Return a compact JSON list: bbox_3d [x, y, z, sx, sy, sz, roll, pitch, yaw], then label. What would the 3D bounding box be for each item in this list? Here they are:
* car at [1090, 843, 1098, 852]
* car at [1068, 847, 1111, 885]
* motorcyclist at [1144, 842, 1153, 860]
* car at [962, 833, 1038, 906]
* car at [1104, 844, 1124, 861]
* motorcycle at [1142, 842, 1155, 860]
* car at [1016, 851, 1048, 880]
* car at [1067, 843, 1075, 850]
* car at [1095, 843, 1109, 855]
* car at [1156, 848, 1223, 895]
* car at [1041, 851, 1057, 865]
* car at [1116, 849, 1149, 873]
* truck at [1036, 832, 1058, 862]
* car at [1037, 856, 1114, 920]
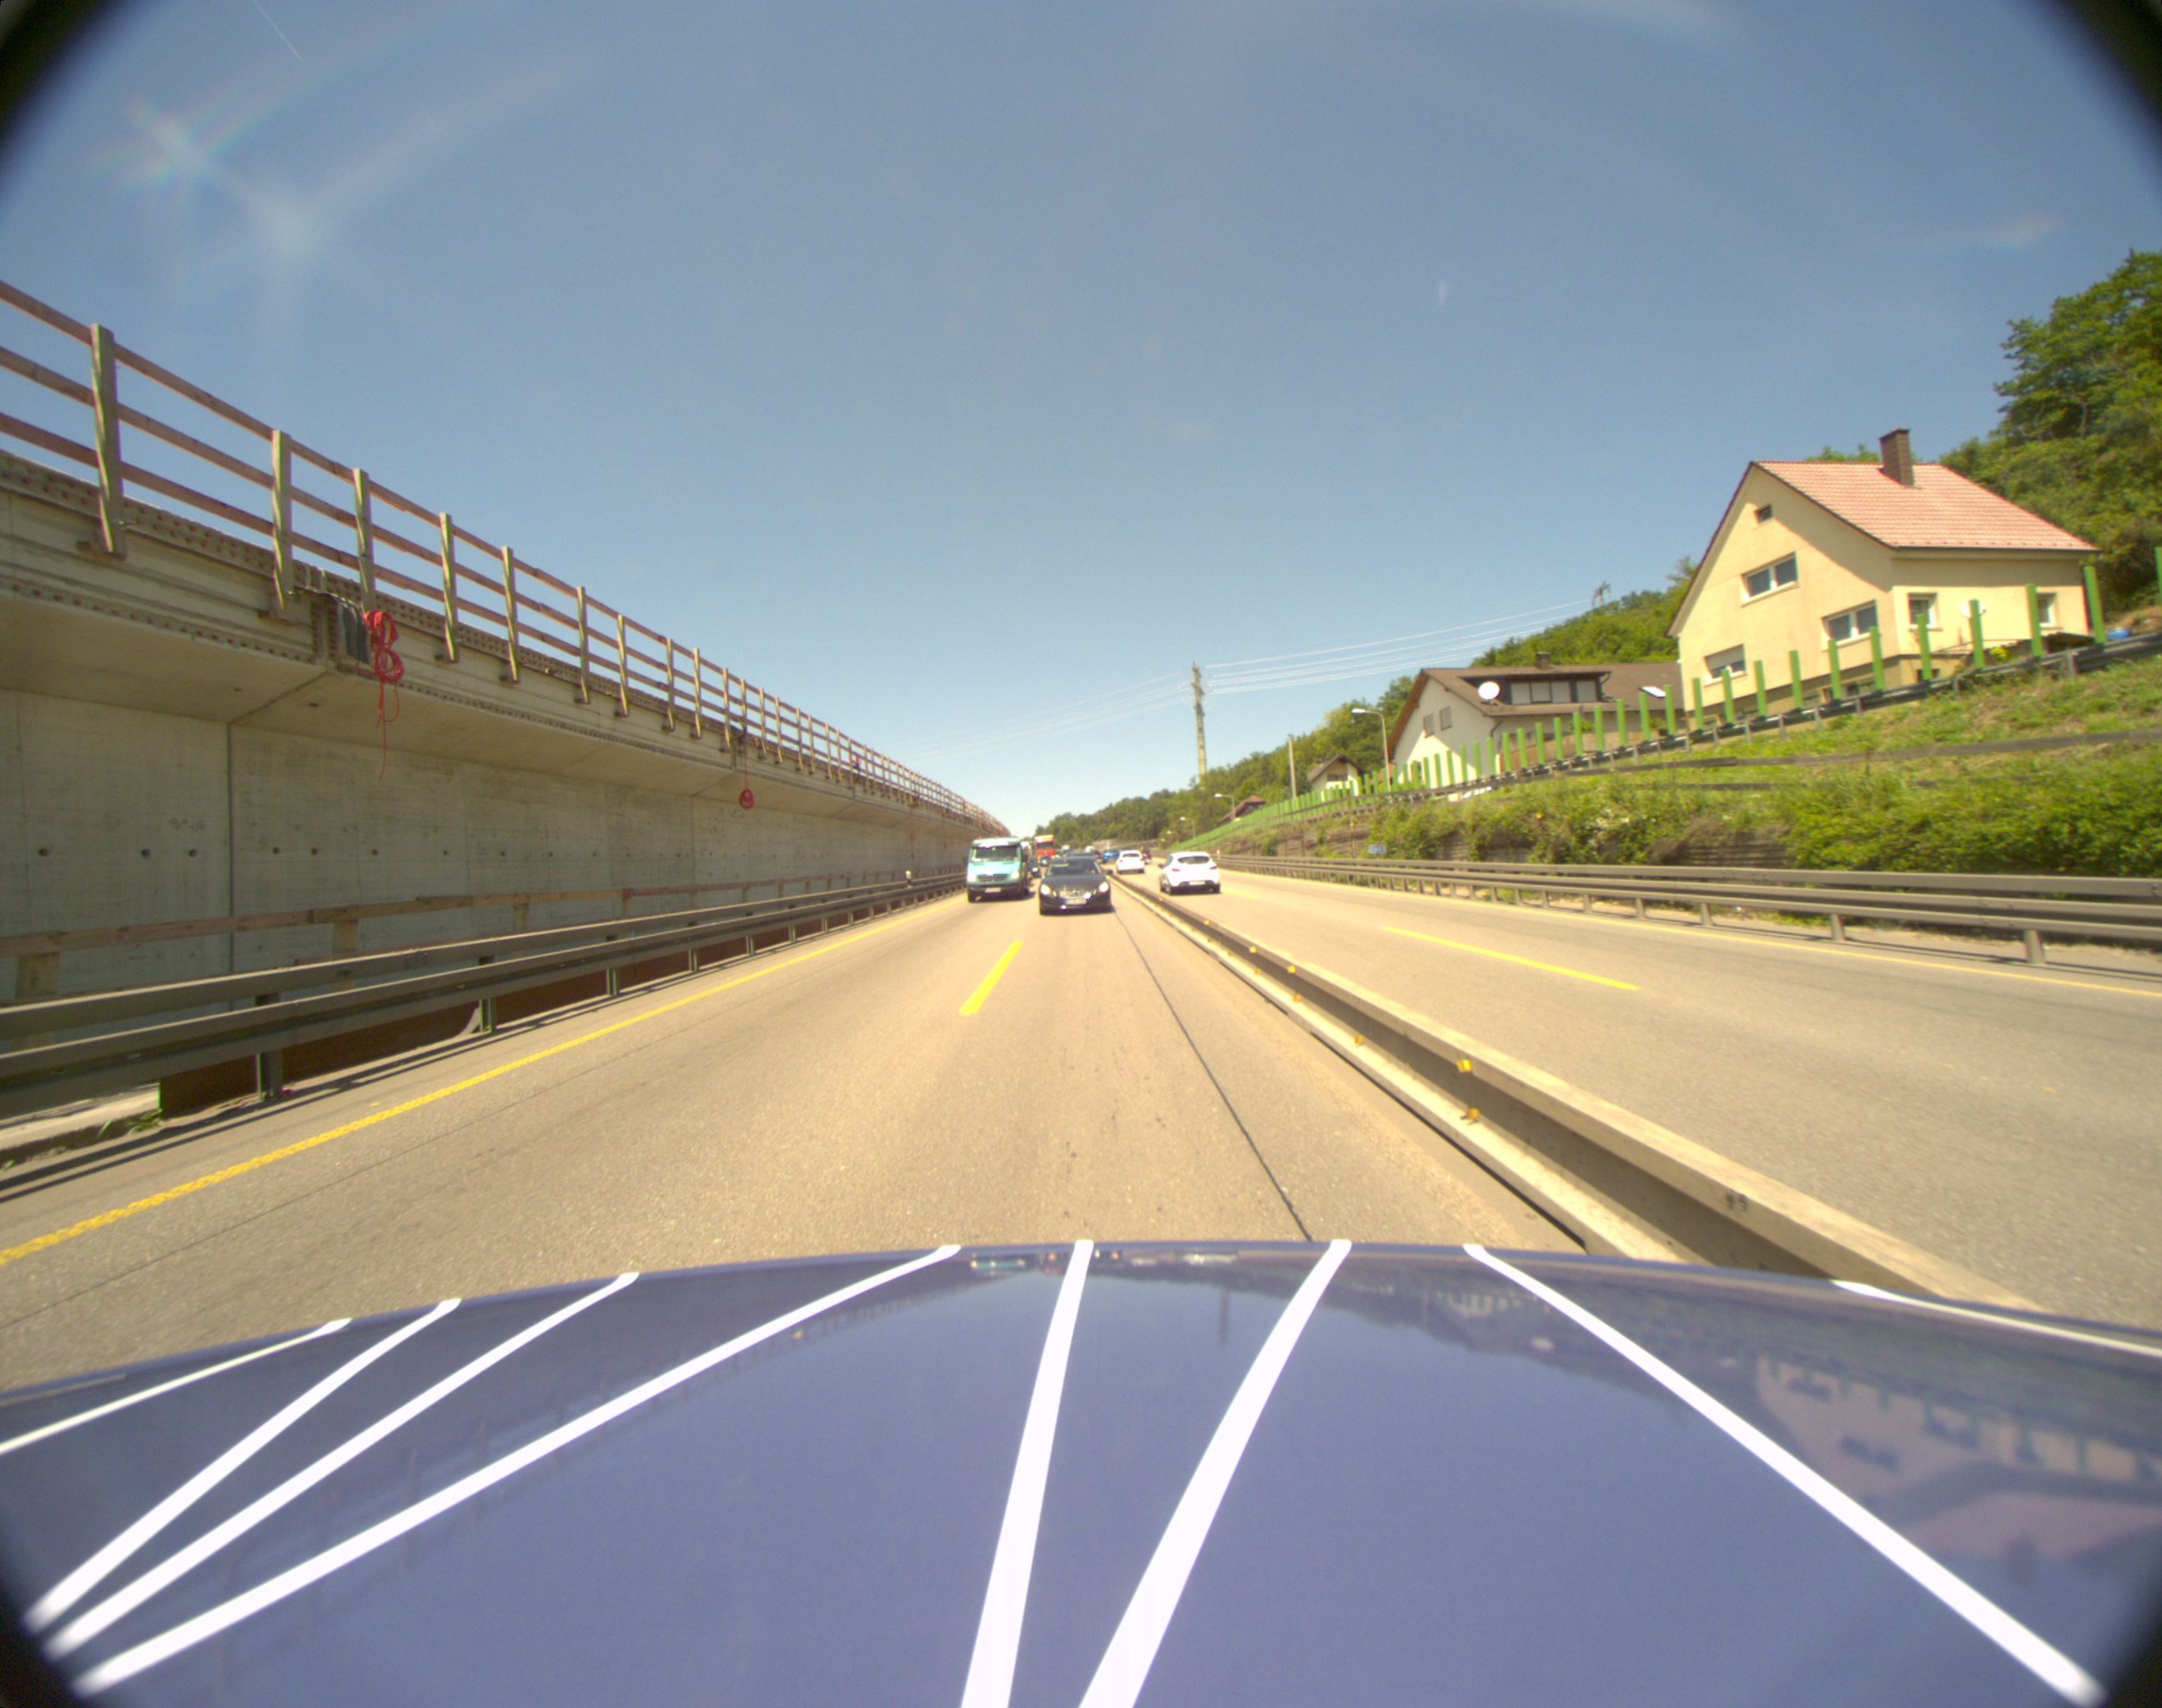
[{"bbox_3d":[2.695,-1.390,161.684,1.600,1.823,4.751,-3,1,0],"label":"car"},{"bbox_3d":[0.370,0.584,39.128,1.860,1.650,3.998,-6,1,-2],"label":"car"},{"bbox_3d":[5.964,-0.295,67.171,0.667,1.576,0.736,-2,2,0],"label":"motorcyclist"},{"bbox_3d":[-2.977,0.476,29.655,1.968,2.367,7.209,-4,1,0],"label":"car"},{"bbox_3d":[3.375,-0.162,78.811,1.768,1.601,3.891,-3,0,-1],"label":"car"},{"bbox_3d":[5.941,-0.235,67.114,0.792,1.542,2.621,-3,0,0],"label":"motorcycle"},{"bbox_3d":[-3.288,0.723,51.882,1.860,1.650,3.998,-6,1,-1],"label":"car"},{"bbox_3d":[-2.878,-2.033,212.781,1.830,1.915,5.240,-4,1,-5],"label":"car"},{"bbox_3d":[3.030,-0.744,111.760,1.847,1.521,4.292,-3,1,-1],"label":"car"},{"bbox_3d":[3.756,0.569,26.905,1.695,1.477,3.749,-3,0,-1],"label":"car"},{"bbox_3d":[-3.873,0.442,93.087,1.674,1.499,3.647,-6,1,0],"label":"car"},{"bbox_3d":[3.397,0.437,50.346,1.771,1.477,3.864,-3,0,-1],"label":"car"},{"bbox_3d":[-4.904,-1.039,109.998,2.651,3.978,11.191,-6,1,-3],"label":"truck"},{"bbox_3d":[-0.249,0.823,20.502,1.793,1.440,4.296,-2,0,-3],"label":"car"}]
